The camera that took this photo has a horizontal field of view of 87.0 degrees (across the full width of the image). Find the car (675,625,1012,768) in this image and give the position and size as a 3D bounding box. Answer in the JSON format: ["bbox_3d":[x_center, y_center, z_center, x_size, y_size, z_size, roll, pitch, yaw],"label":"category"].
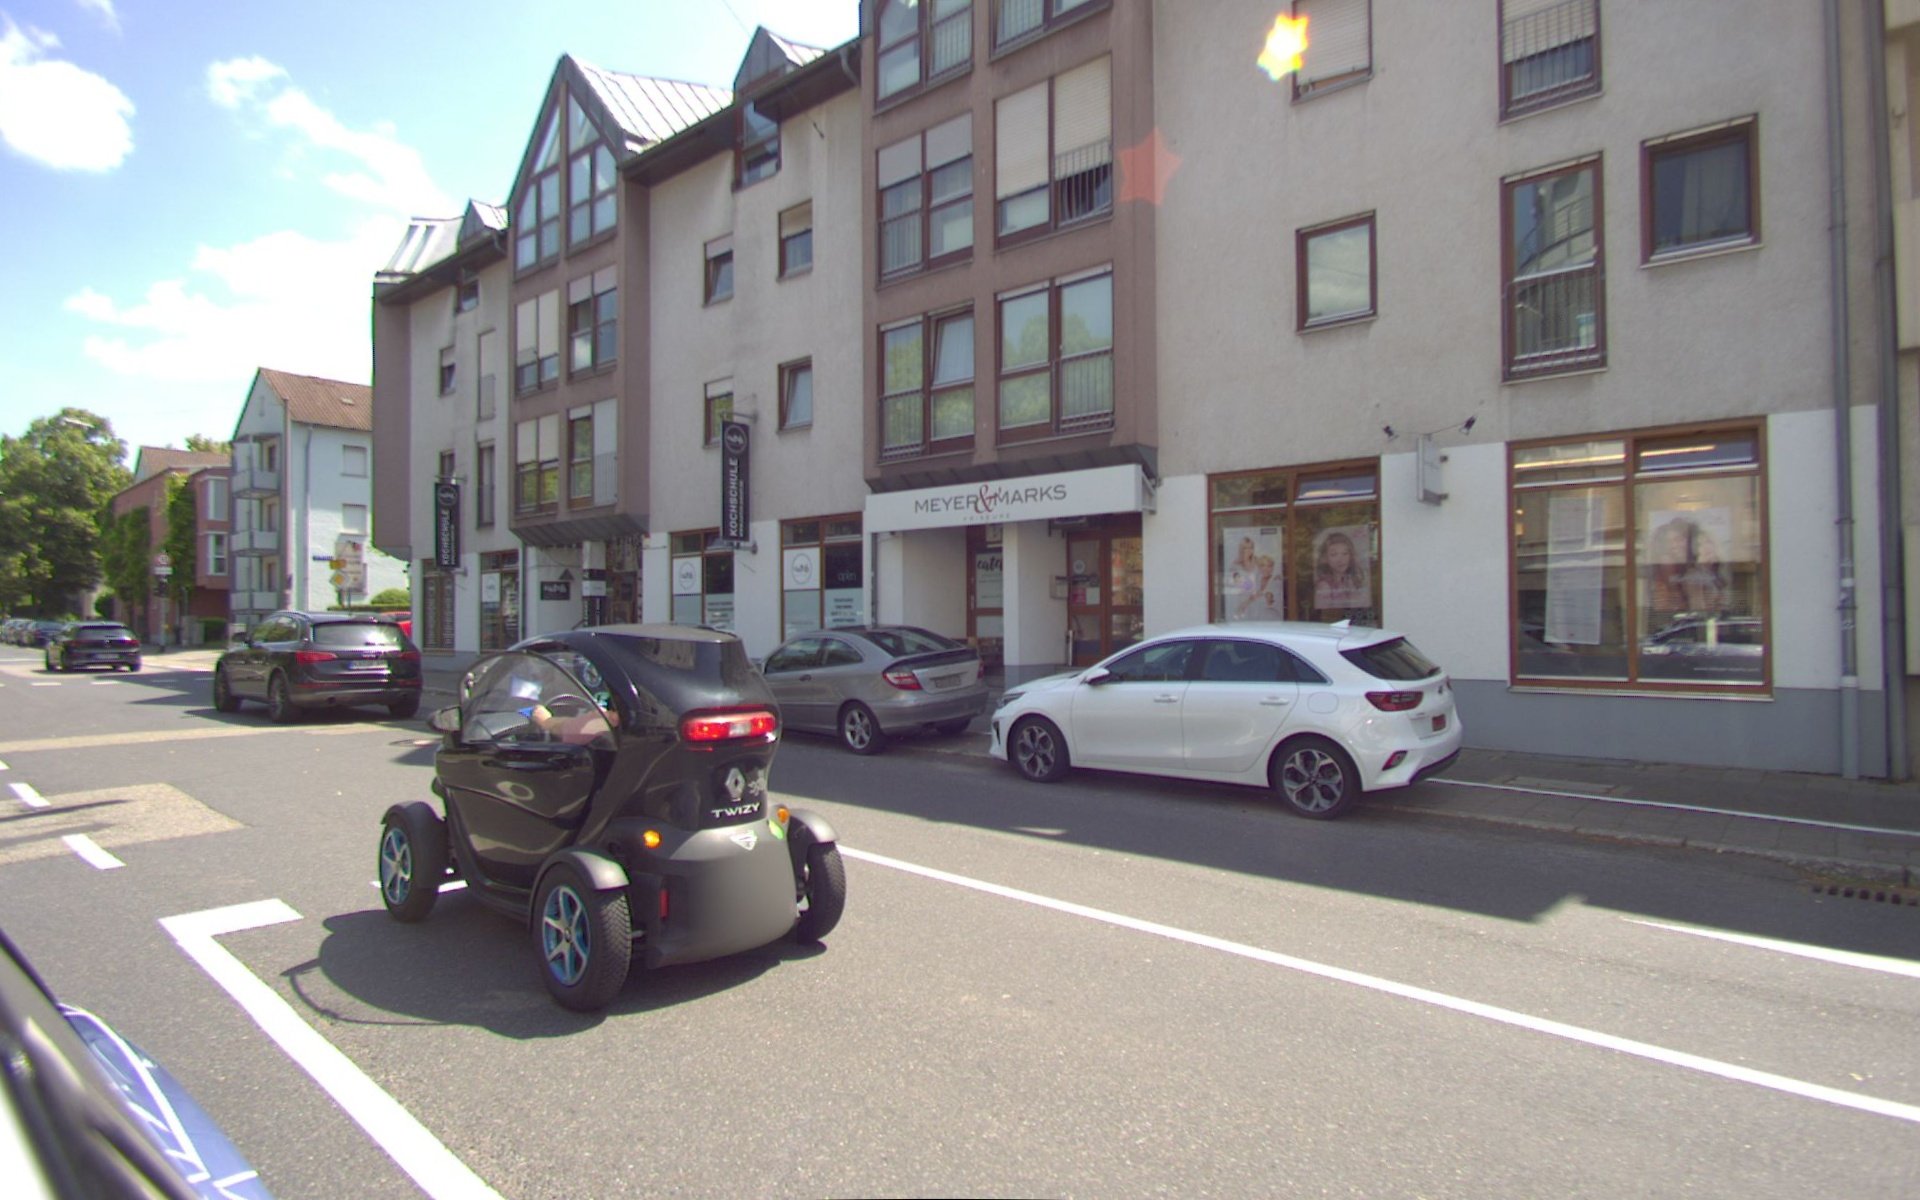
[{"bbox_3d":[-1.604,1.071,12.798,4.326,1.394,1.820,-1,1,42],"label":"car"}]

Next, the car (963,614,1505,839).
[{"bbox_3d":[2.287,0.918,9.173,4.384,1.500,1.821,-1,1,41],"label":"car"}]

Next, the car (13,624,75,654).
[{"bbox_3d":[-49.759,2.104,54.954,4.564,1.551,1.867,-1,-2,40],"label":"car"}]

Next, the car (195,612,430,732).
[{"bbox_3d":[-10.303,1.057,15.992,4.436,1.633,1.794,-1,-3,39],"label":"car"}]

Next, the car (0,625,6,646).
[{"bbox_3d":[-72.837,2.664,75.781,3.997,1.519,1.552,-1,-1,40],"label":"car"}]

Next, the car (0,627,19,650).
[{"bbox_3d":[-64.411,2.583,67.668,3.997,1.453,1.730,-1,-1,40],"label":"car"}]

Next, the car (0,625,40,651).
[{"bbox_3d":[-59.055,2.337,63.278,3.997,1.519,1.730,-1,-1,40],"label":"car"}]

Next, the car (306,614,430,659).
[{"bbox_3d":[-23.896,1.458,40.951,1.731,1.462,3.948,-3,1,40],"label":"car"}]

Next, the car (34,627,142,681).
[{"bbox_3d":[-25.107,1.503,29.083,4.220,1.430,1.724,-1,-2,41],"label":"car"}]

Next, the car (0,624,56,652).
[{"bbox_3d":[-54.530,2.183,59.156,4.564,1.551,1.867,-1,-2,40],"label":"car"}]

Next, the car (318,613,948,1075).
[{"bbox_3d":[-1.577,0.810,4.659,2.718,1.470,1.483,-1,-2,37],"label":"car"}]

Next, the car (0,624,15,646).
[{"bbox_3d":[-69.018,2.518,72.304,3.997,1.519,1.730,-1,-1,40],"label":"car"}]

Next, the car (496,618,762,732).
[{"bbox_3d":[-5.391,1.060,16.089,4.969,1.458,1.820,-1,1,43],"label":"car"}]
